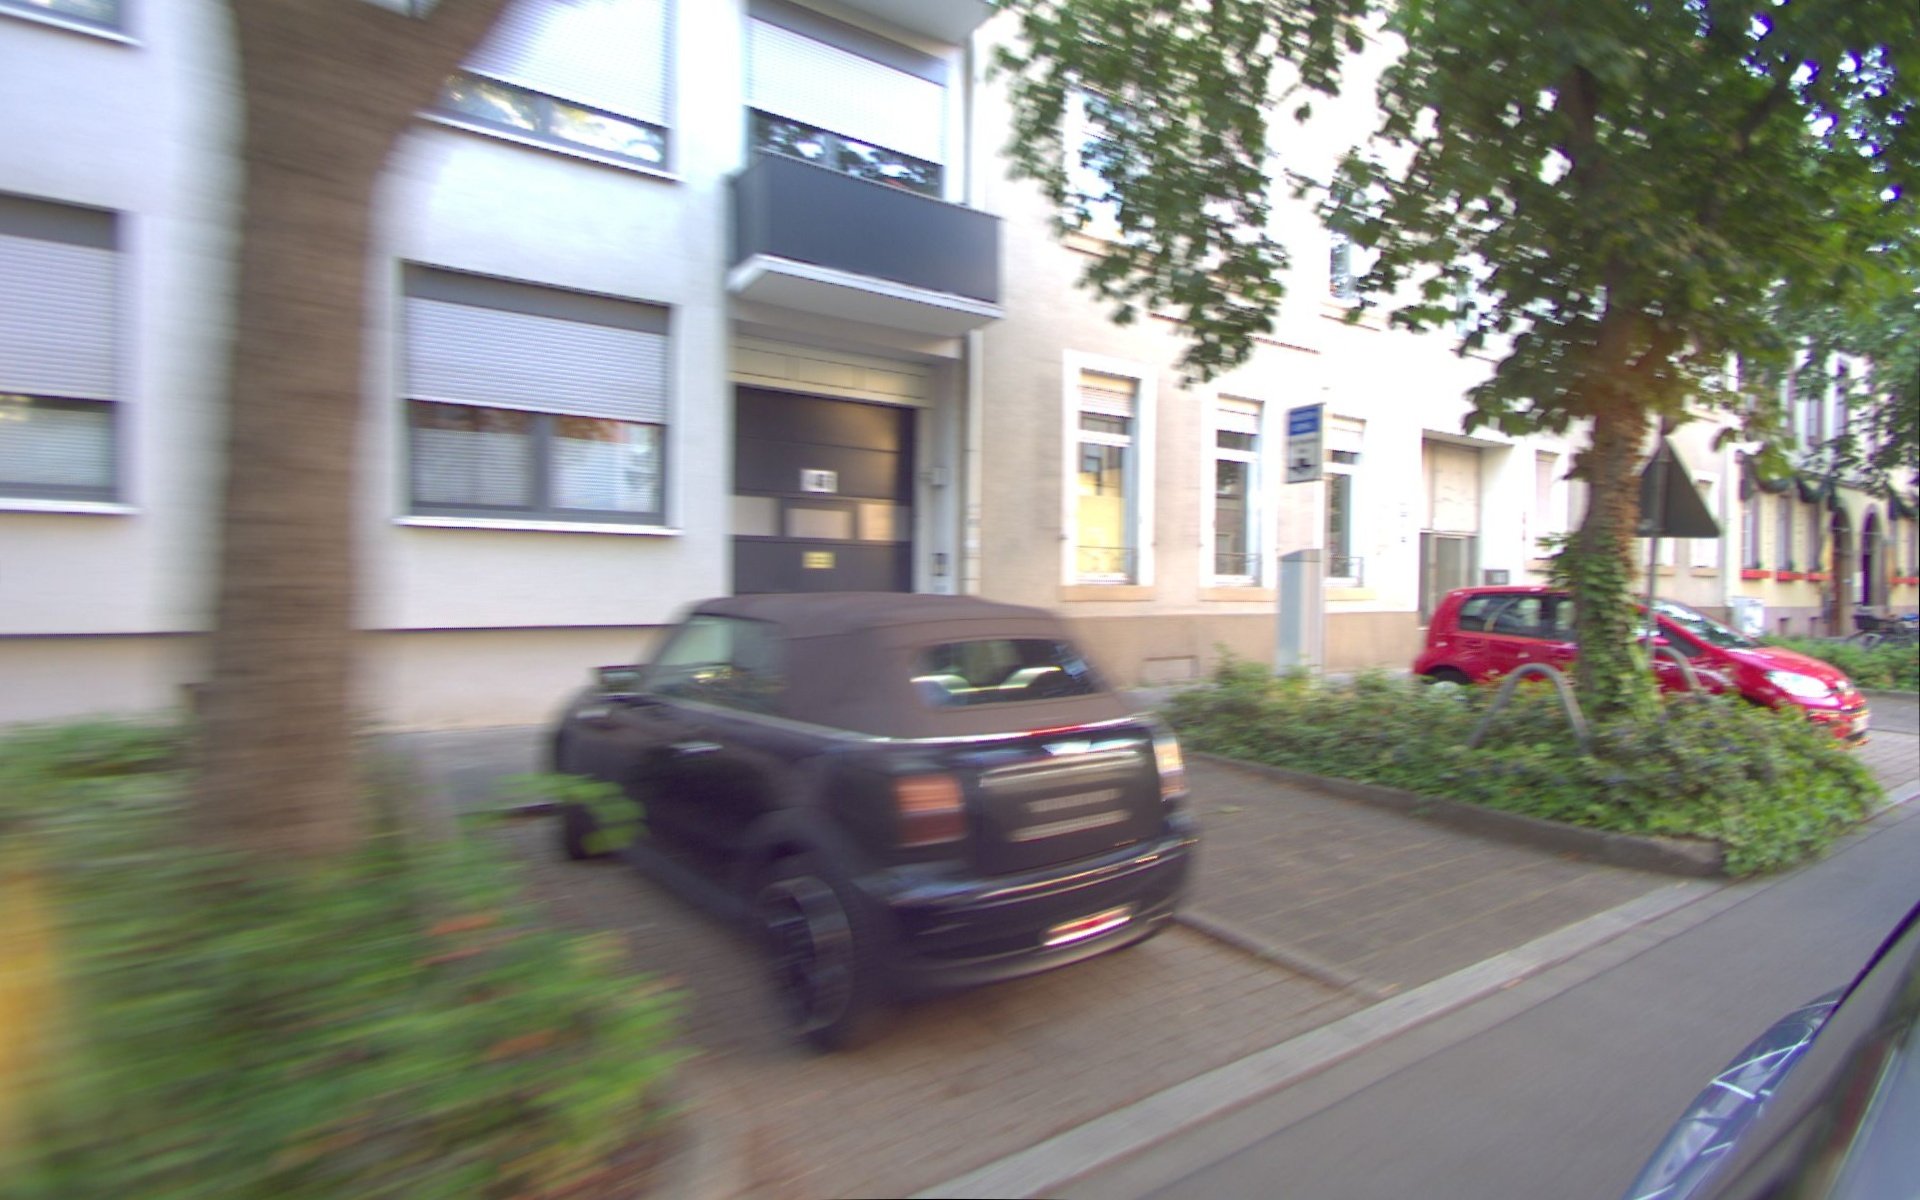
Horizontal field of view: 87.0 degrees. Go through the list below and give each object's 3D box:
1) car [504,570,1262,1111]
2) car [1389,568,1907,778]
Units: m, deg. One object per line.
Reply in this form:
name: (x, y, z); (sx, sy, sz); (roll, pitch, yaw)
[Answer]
car: (-0.726, 0.602, 4.774); (1.682, 1.428, 3.844); (0, 2, -39)
car: (6.288, 0.514, 9.612); (1.722, 1.572, 3.732); (0, 1, -37)
